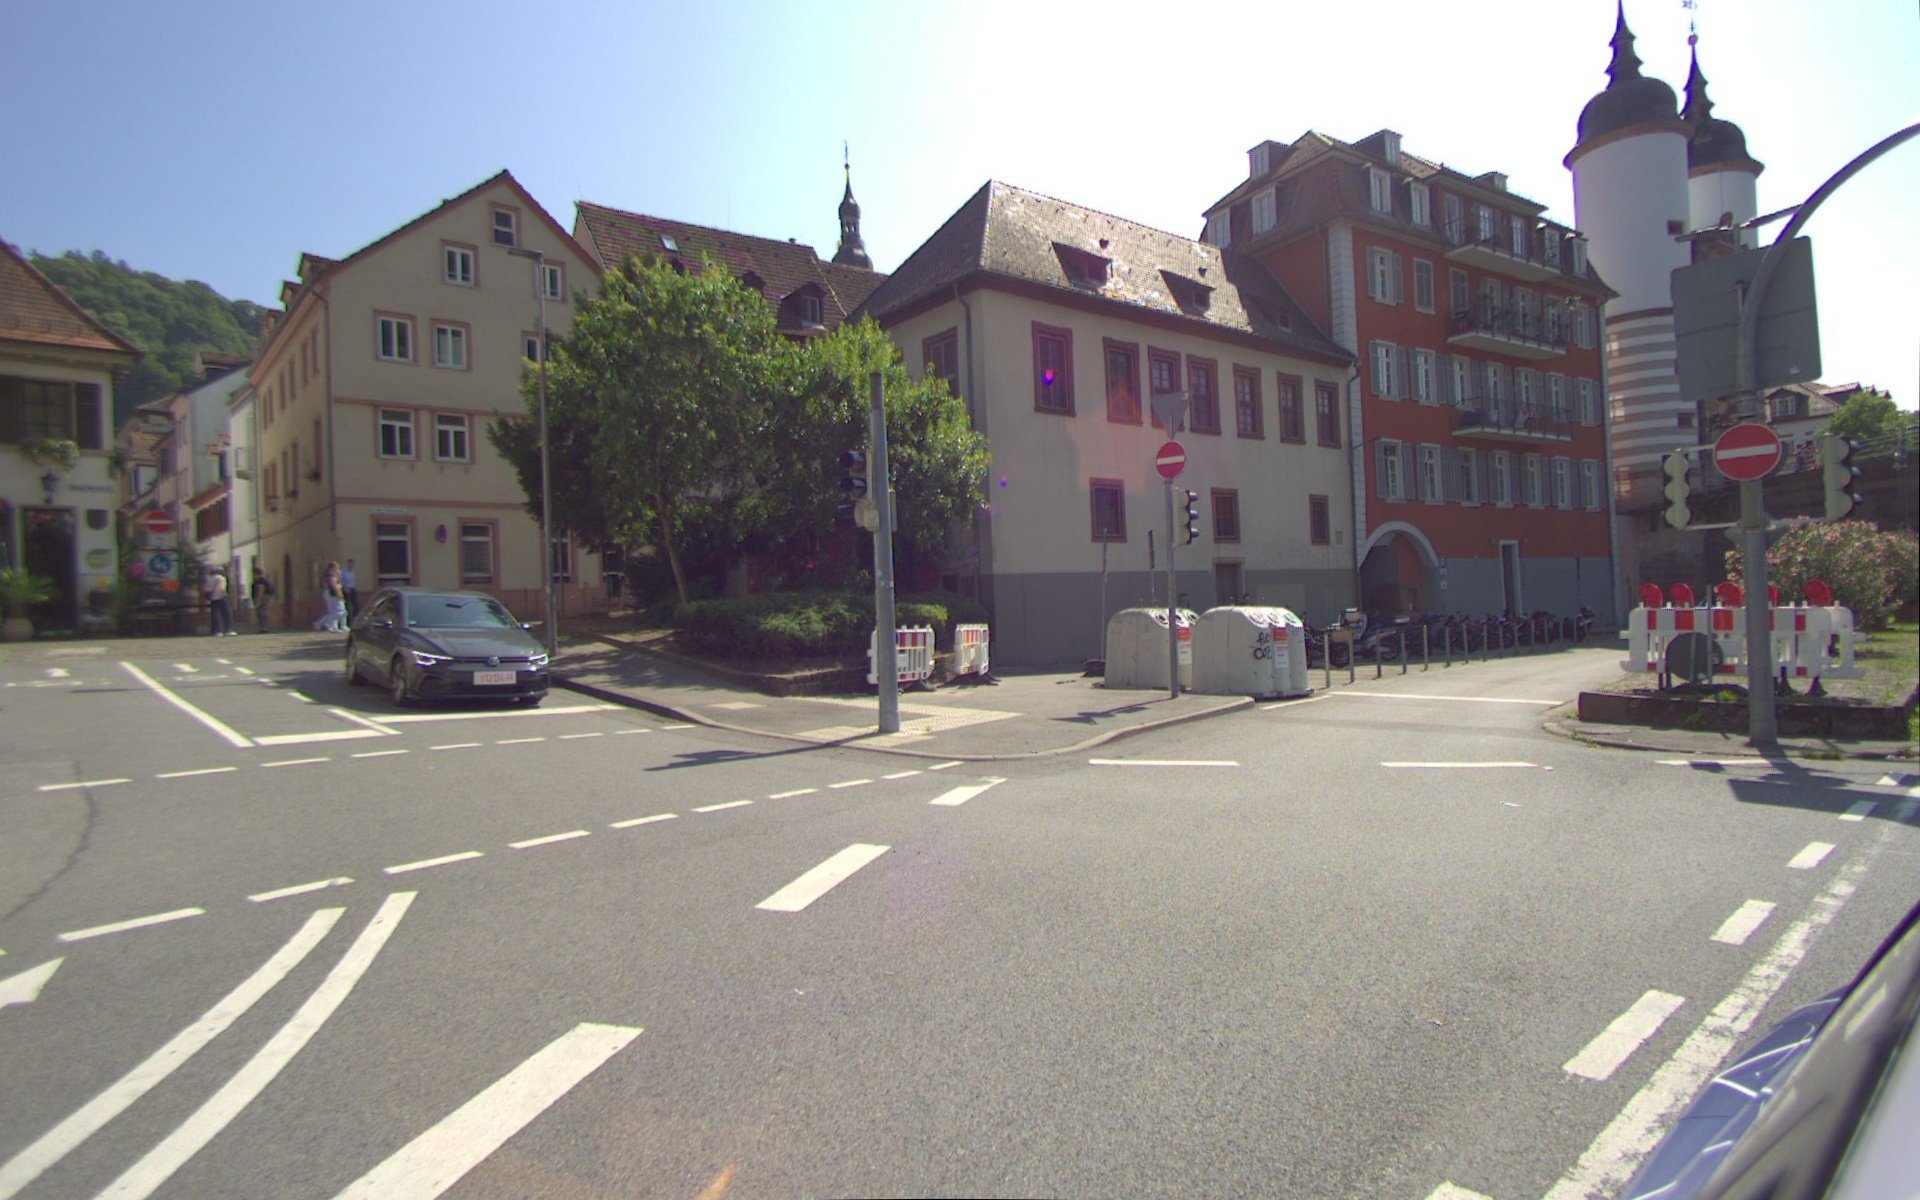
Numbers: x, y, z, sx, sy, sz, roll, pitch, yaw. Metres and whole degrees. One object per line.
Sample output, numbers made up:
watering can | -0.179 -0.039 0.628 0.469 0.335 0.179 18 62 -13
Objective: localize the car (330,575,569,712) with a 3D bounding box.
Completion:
car | -7.003 0.502 13.682 1.829 1.505 3.993 4 -1 -42

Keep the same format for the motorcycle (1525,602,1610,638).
motorcycle | 22.371 0.727 37.331 2.504 1.249 0.839 -2 -1 13

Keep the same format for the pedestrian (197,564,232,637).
pedestrian | -17.786 -0.002 24.130 0.651 1.702 0.454 0 3 -39

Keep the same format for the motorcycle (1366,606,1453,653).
motorcycle | 12.904 0.853 29.107 2.168 1.283 0.625 -2 -1 18

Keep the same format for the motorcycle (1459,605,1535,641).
motorcycle | 18.273 0.783 34.486 2.162 1.162 0.626 -2 0 10

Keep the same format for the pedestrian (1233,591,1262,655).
pedestrian | 8.482 0.661 29.832 0.608 1.845 0.495 -3 1 -40

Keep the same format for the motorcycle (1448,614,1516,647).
motorcycle | 17.203 1.005 33.380 1.900 0.999 0.546 -2 0 10

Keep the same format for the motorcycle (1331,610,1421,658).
motorcycle | 11.514 0.943 28.088 2.206 1.268 0.624 -2 -2 18

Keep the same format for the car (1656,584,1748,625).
car | 31.694 0.206 43.219 3.734 1.562 1.678 -2 -1 -28

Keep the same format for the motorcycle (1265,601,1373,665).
motorcycle | 9.133 0.840 25.881 2.461 1.552 1.049 -2 0 16

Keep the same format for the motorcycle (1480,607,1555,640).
motorcycle | 19.438 0.816 35.338 2.162 1.090 0.626 -2 0 10

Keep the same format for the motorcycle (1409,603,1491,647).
motorcycle | 15.148 0.771 31.364 2.154 1.283 0.779 -2 0 18

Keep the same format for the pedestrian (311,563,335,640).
pedestrian | -15.312 0.039 24.314 0.427 1.809 0.486 0 3 -39

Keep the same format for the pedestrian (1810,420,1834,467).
pedestrian | 39.619 -7.188 46.524 0.694 2.038 0.640 -3 1 -34

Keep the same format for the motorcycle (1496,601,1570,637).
motorcycle | 20.598 0.673 36.443 2.120 1.249 0.839 -2 -1 13

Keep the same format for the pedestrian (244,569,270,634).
pedestrian | -17.568 0.023 25.300 0.499 1.595 0.417 0 3 -39

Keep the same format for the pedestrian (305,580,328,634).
pedestrian | -15.855 0.164 24.941 0.435 1.292 0.333 0 2 -39

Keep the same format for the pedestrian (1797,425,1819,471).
pedestrian | 39.668 -7.098 47.352 0.694 2.038 0.580 -3 1 -34
